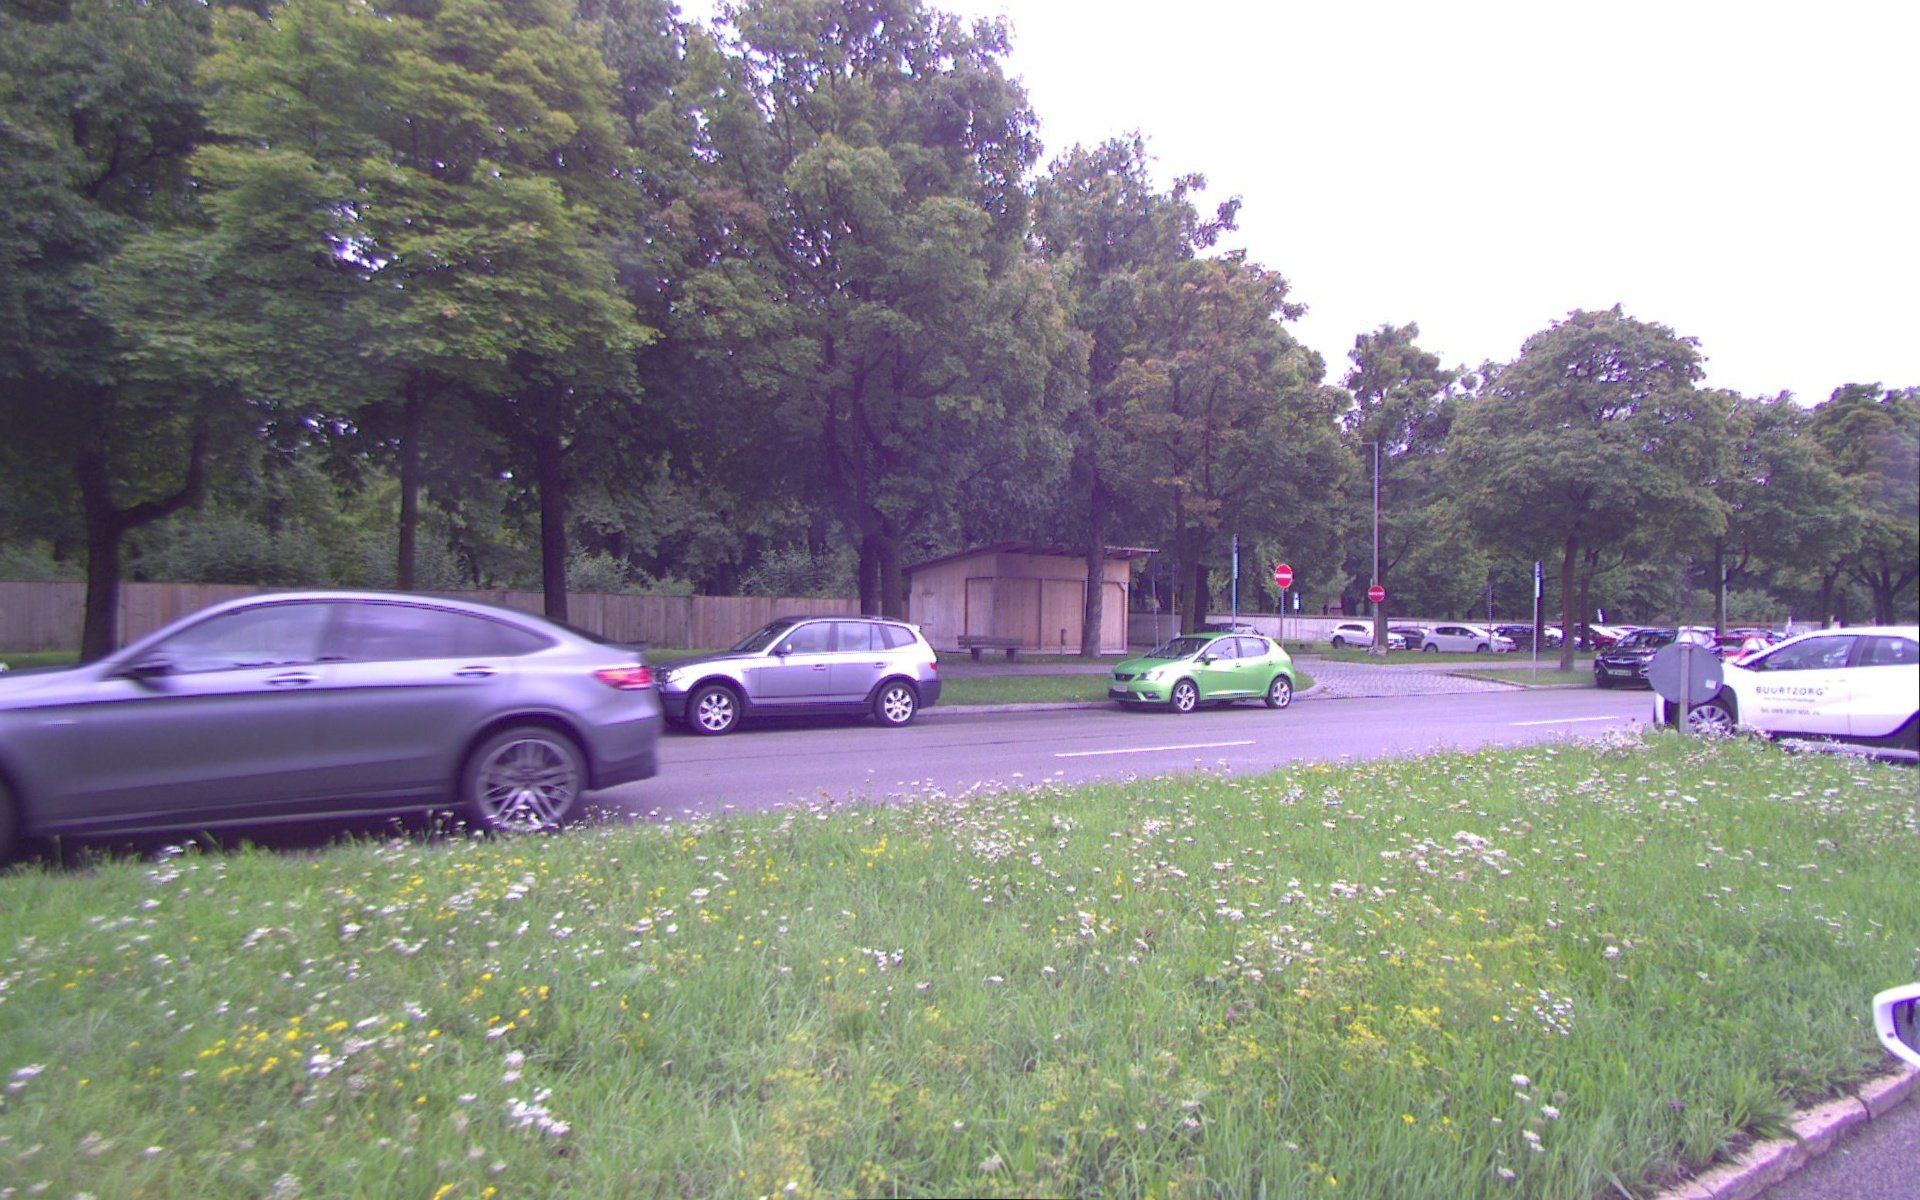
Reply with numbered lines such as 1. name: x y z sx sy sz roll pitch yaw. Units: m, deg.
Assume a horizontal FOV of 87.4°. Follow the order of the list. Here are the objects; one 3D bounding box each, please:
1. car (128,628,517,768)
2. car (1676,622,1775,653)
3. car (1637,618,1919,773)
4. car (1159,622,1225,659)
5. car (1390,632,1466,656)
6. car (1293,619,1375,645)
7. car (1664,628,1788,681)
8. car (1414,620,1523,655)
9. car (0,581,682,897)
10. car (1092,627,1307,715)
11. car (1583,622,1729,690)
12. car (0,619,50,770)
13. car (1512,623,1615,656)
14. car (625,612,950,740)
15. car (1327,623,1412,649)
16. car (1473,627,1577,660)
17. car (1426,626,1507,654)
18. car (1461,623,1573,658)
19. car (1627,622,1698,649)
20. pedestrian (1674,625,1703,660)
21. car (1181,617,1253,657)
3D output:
1. car: -7.346 1.084 11.951 3.643 1.440 1.642 1 -3 -30
2. car: 42.163 2.066 55.415 1.792 1.591 3.971 1 -1 -28
3. car: 10.384 1.035 11.758 1.803 1.574 3.697 1 -1 -25
4. car: 9.935 1.708 43.377 1.822 1.428 4.469 1 -1 0
5. car: 28.899 2.713 62.135 1.852 1.391 3.975 1 -1 -25
6. car: 22.296 1.902 60.047 1.974 1.461 4.490 1 -1 -26
7. car: 23.511 1.664 30.799 3.768 1.499 1.812 3 -1 -32
8. car: 23.031 1.672 45.562 1.980 1.461 3.960 1 -1 -35
9. car: -4.276 0.726 6.542 4.449 1.610 1.812 1 0 -31
10. car: 4.580 1.292 19.098 3.952 1.519 1.633 1 -2 -30
11. car: 19.360 1.562 27.895 4.193 1.722 1.812 3 -1 -32
12. car: -11.632 0.928 9.438 4.209 1.496 1.813 1 -3 -30
13. car: 29.978 1.933 49.975 1.980 1.461 3.960 1 -1 -35
14. car: -2.497 1.052 14.884 4.405 1.652 1.812 1 -2 -31
15. car: 24.550 2.142 60.377 1.975 1.461 4.488 1 -1 -28
16. car: 27.370 2.075 48.766 1.980 1.461 3.960 1 -1 -35
17. car: 33.561 2.624 66.712 1.977 1.647 4.483 1 -1 -30
18. car: 25.809 1.835 46.681 1.978 1.461 4.112 1 -1 -32
19. car: 58.739 2.957 84.039 1.977 2.061 4.483 1 -1 -30
20. pedestrian: 32.292 1.881 44.515 0.846 1.515 0.791 1 -1 -30
21. car: 9.965 1.414 39.185 1.822 1.428 3.859 1 -1 0
